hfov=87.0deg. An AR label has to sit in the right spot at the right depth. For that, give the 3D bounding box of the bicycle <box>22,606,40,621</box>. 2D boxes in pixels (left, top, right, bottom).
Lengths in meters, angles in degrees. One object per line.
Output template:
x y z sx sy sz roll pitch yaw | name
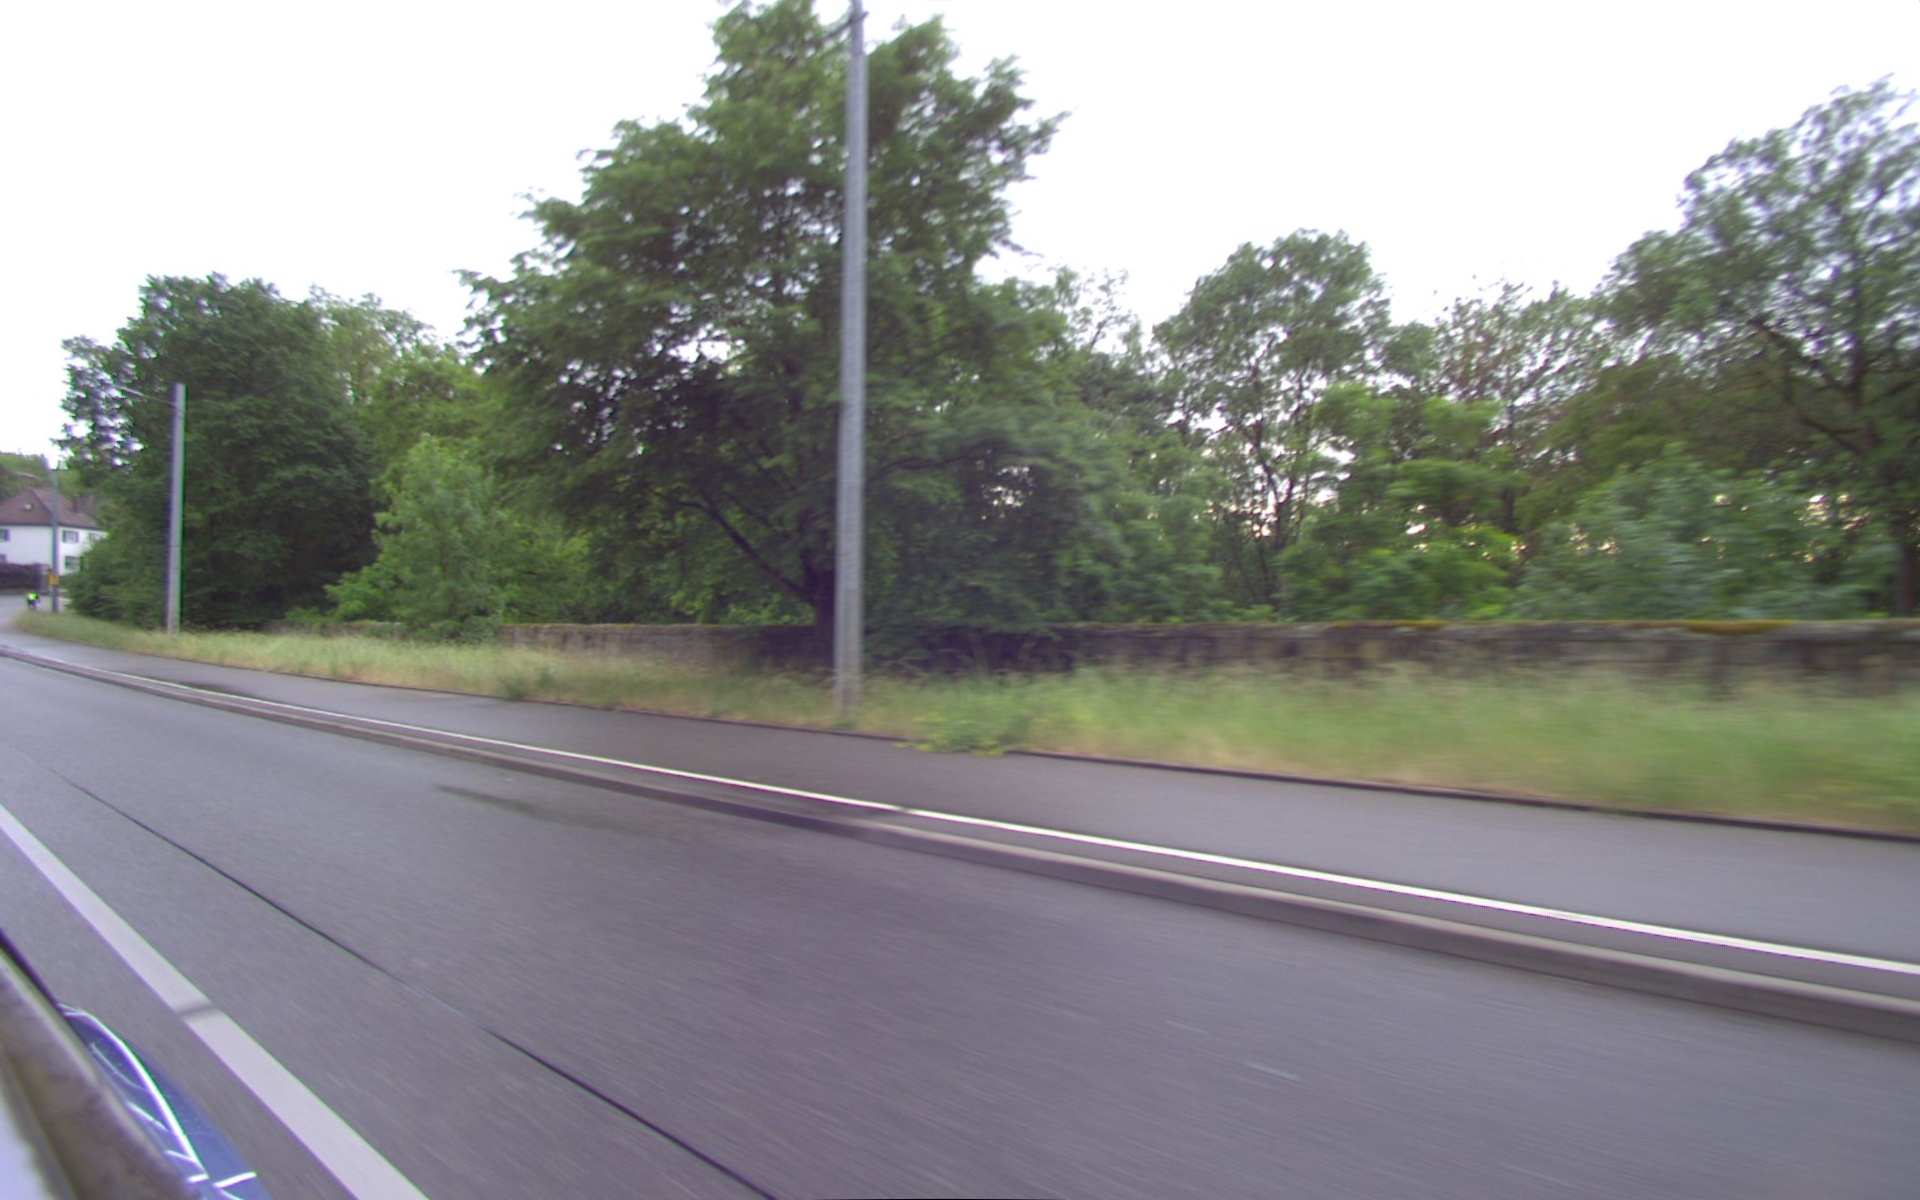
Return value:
-63.178 0.920 68.849 0.715 0.949 2.555 -1 1 -39 | bicycle

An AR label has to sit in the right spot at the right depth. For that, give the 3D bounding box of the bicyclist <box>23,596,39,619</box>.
-63.087 0.506 68.724 0.699 1.568 1.173 -1 1 -39 | bicyclist
